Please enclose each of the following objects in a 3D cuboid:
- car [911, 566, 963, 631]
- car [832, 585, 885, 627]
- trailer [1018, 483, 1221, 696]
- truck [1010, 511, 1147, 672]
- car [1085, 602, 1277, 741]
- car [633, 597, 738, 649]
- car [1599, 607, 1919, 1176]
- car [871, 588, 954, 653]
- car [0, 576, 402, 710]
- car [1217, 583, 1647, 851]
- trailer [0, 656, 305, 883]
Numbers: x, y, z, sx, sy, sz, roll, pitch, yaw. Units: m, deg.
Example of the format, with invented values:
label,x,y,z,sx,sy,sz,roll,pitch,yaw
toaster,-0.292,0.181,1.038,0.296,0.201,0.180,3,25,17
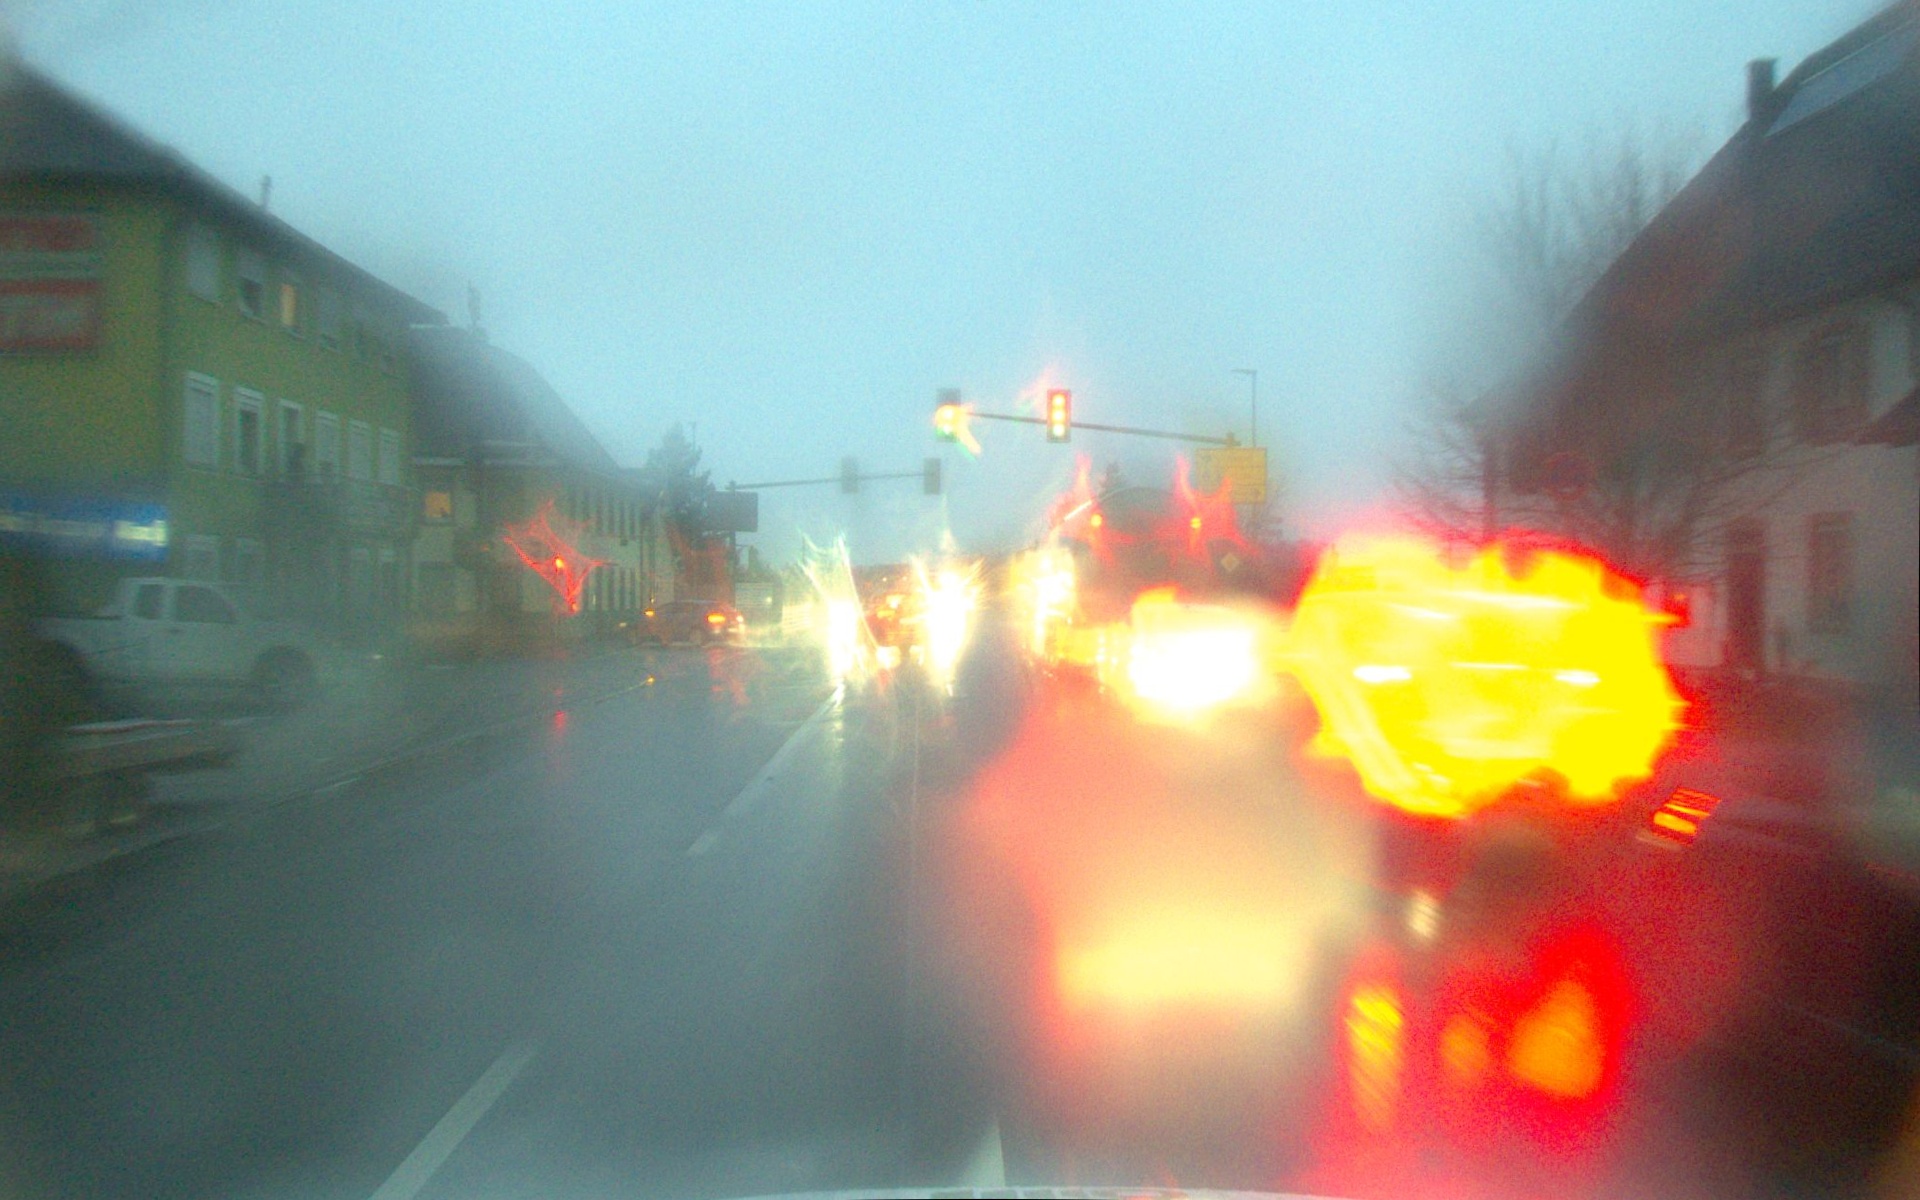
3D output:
label,x,y,z,sx,sy,sz,roll,pitch,yaw
car,-1.167,-0.051,80.112,2.353,2.943,6.248,2,0,-2
car,-4.456,0.261,73.059,1.952,1.777,4.001,-1,0,2
trailer,2.697,-0.169,31.335,2.438,3.297,10.864,1,0,-2
truck,2.535,-0.181,37.235,2.412,3.286,6.270,1,0,-2
car,2.550,0.775,20.027,1.629,1.464,4.380,1,0,-1
car,-8.557,0.701,51.755,3.155,1.534,1.547,1,0,-7
car,3.411,0.808,4.435,1.667,1.497,4.271,1,0,-1
car,-1.313,0.513,43.629,2.007,1.600,4.699,-1,0,-4
car,-10.825,0.587,23.529,5.082,1.822,2.000,0,0,0
car,3.225,0.709,12.314,1.799,1.595,4.502,1,0,-1
trailer,-6.262,1.026,10.376,1.953,1.057,6.102,-1,0,-1
